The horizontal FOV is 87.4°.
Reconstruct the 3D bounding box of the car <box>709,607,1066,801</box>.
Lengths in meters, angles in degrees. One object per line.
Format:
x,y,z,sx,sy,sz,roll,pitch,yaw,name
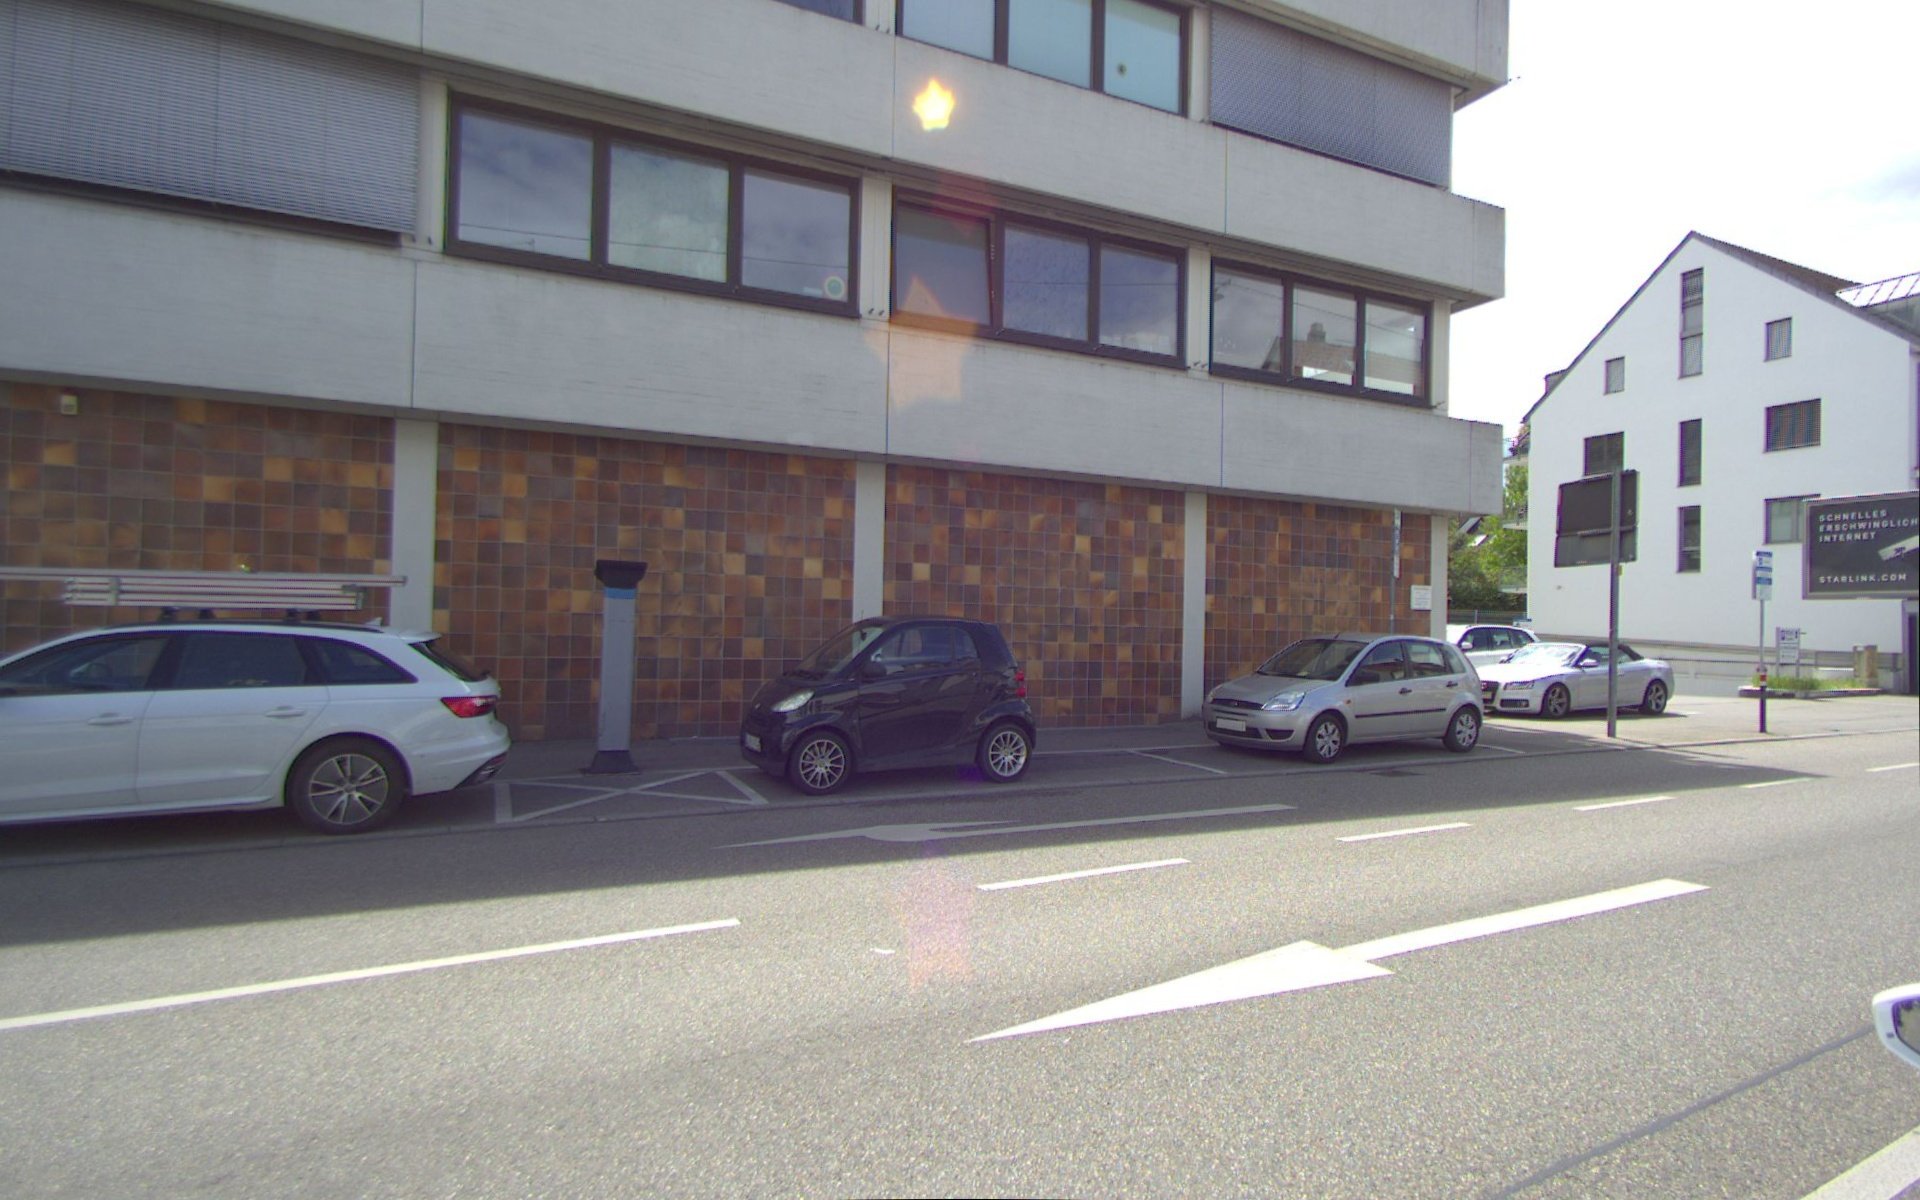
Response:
-0.723,0.898,9.713,3.016,1.576,1.731,1,0,-26,car

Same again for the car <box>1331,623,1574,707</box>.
10.517,1.368,21.447,4.859,1.640,1.948,1,-4,-23,car

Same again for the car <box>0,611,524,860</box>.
-5.817,0.841,7.167,4.887,1.463,2.037,1,0,-26,car

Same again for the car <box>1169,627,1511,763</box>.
4.810,1.101,12.642,4.094,1.441,1.716,1,0,-27,car

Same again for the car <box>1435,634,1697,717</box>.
11.484,1.366,18.999,4.790,1.376,1.945,2,-1,-25,car

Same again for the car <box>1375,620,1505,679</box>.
17.462,1.779,36.511,4.587,2.015,1.832,2,-1,-26,car
